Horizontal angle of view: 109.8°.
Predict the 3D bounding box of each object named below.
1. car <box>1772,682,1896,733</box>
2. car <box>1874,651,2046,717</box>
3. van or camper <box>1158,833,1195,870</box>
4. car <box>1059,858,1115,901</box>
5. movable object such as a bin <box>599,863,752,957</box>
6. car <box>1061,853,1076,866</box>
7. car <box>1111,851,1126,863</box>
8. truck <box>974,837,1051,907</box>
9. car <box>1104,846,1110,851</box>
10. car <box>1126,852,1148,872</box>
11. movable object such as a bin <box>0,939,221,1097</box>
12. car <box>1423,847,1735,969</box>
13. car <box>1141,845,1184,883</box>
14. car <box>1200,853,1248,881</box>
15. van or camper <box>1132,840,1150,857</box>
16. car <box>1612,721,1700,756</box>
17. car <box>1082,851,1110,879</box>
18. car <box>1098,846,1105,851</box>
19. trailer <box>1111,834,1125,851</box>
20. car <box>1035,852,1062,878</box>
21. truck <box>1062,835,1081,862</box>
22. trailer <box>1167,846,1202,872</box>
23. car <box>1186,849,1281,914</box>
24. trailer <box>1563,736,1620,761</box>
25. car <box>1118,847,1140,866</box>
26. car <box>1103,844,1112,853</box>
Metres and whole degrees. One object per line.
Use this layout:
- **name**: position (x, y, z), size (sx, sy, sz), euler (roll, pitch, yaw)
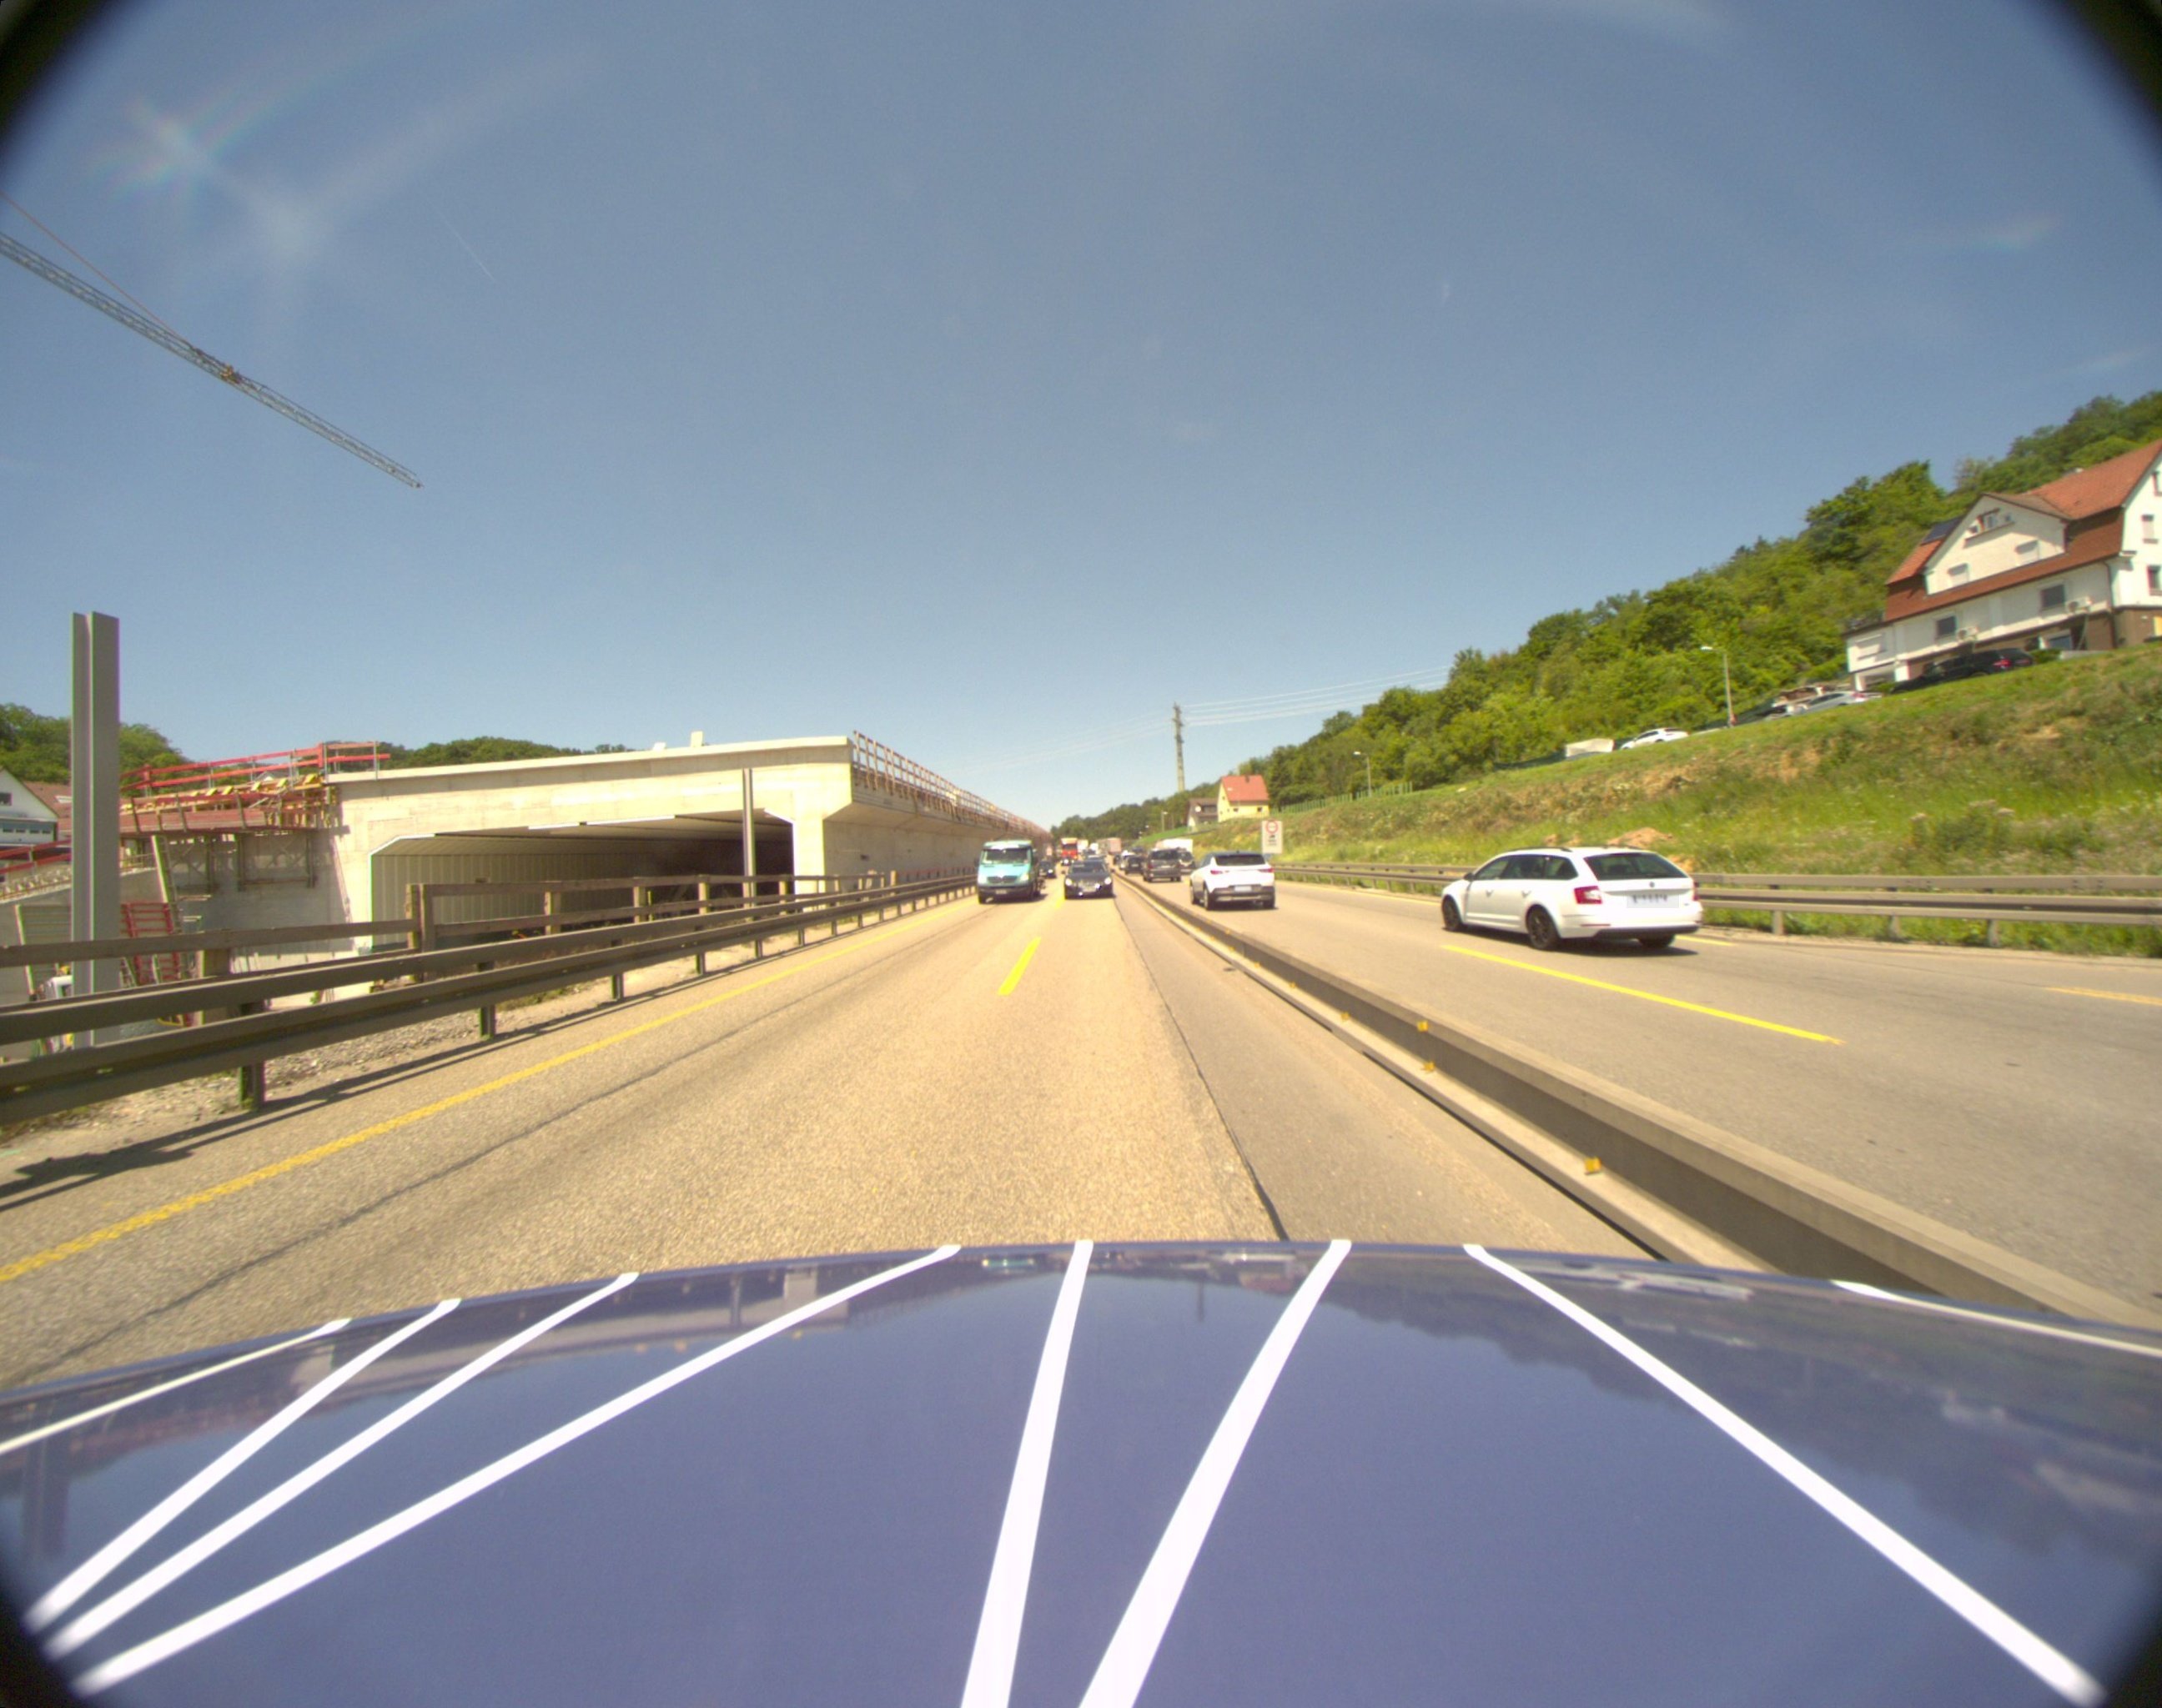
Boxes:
- **car**: position (39.764, -7.698, 40.287), size (1.999, 1.861, 4.428), euler (-2, 1, -5)
- **car**: position (40.441, -7.750, 35.191), size (2.077, 1.997, 4.970), euler (-2, 1, -4)
- **van or camper**: position (8.270, -0.215, 66.526), size (2.297, 3.048, 6.923), euler (-2, 0, 1)
- **car**: position (0.275, 0.934, 29.788), size (1.998, 1.441, 4.601), euler (-2, 1, 1)
- **movable object such as a bin**: position (-20.991, 2.685, 40.175), size (2.961, 4.039, 9.154), euler (-2, 1, 0)
- **car**: position (-1.684, 0.744, 105.009), size (1.883, 1.532, 4.281), euler (-2, 1, 0)
- **car**: position (5.023, 0.405, 102.926), size (1.847, 1.467, 4.834), euler (-2, 0, 0)
- **truck**: position (-2.531, 0.553, 30.178), size (2.139, 2.344, 7.432), euler (-2, 1, 1)
- **car**: position (8.568, -1.962, 251.685), size (1.998, 1.499, 5.300), euler (-2, 1, 1)
- **car**: position (4.433, 0.631, 60.202), size (1.487, 1.496, 2.805), euler (-2, 0, 1)
- **movable object such as a bin**: position (-25.283, 4.201, 18.484), size (7.141, 2.883, 3.503), euler (-11, -2, 23)
- **car**: position (7.283, 0.679, 11.825), size (1.808, 1.488, 4.599), euler (-1, 0, 0)
- **car**: position (4.696, 0.539, 44.469), size (1.915, 2.002, 4.905), euler (-2, 0, -1)
- **car**: position (7.963, 0.675, 42.656), size (1.814, 1.423, 4.555), euler (-3, 0, 1)
- **van or camper**: position (9.354, -0.826, 118.906), size (2.145, 2.558, 6.564), euler (-2, 0, 1)
- **car**: position (38.305, -7.669, 50.754), size (2.000, 1.646, 4.548), euler (-2, 1, -9)
- **car**: position (1.128, 0.768, 54.609), size (1.884, 1.805, 4.250), euler (-2, 1, 2)
- **car**: position (5.492, -1.475, 200.495), size (1.807, 1.455, 4.000), euler (-2, 0, 1)
- **trailer**: position (9.160, -2.883, 189.275), size (2.937, 3.966, 8.704), euler (-2, 1, -1)
- **car**: position (-2.481, 0.823, 59.135), size (1.885, 1.805, 4.249), euler (-2, 1, 0)
- **truck**: position (-1.559, -0.998, 126.275), size (2.750, 4.222, 9.093), euler (-2, 1, 0)
- **trailer**: position (8.186, 0.398, 60.557), size (2.106, 1.883, 5.141), euler (-2, 0, 1)
- **car**: position (4.191, 0.701, 21.502), size (1.811, 1.630, 4.172), euler (-2, 0, 0)
- **trailer**: position (37.554, -7.745, 55.944), size (1.908, 1.507, 3.034), euler (-2, 1, -10)
- **car**: position (4.943, 0.222, 78.779), size (1.842, 1.817, 5.040), euler (-2, 0, 0)
- **car**: position (6.120, -1.239, 175.063), size (1.998, 2.002, 3.999), euler (-2, 1, 0)
